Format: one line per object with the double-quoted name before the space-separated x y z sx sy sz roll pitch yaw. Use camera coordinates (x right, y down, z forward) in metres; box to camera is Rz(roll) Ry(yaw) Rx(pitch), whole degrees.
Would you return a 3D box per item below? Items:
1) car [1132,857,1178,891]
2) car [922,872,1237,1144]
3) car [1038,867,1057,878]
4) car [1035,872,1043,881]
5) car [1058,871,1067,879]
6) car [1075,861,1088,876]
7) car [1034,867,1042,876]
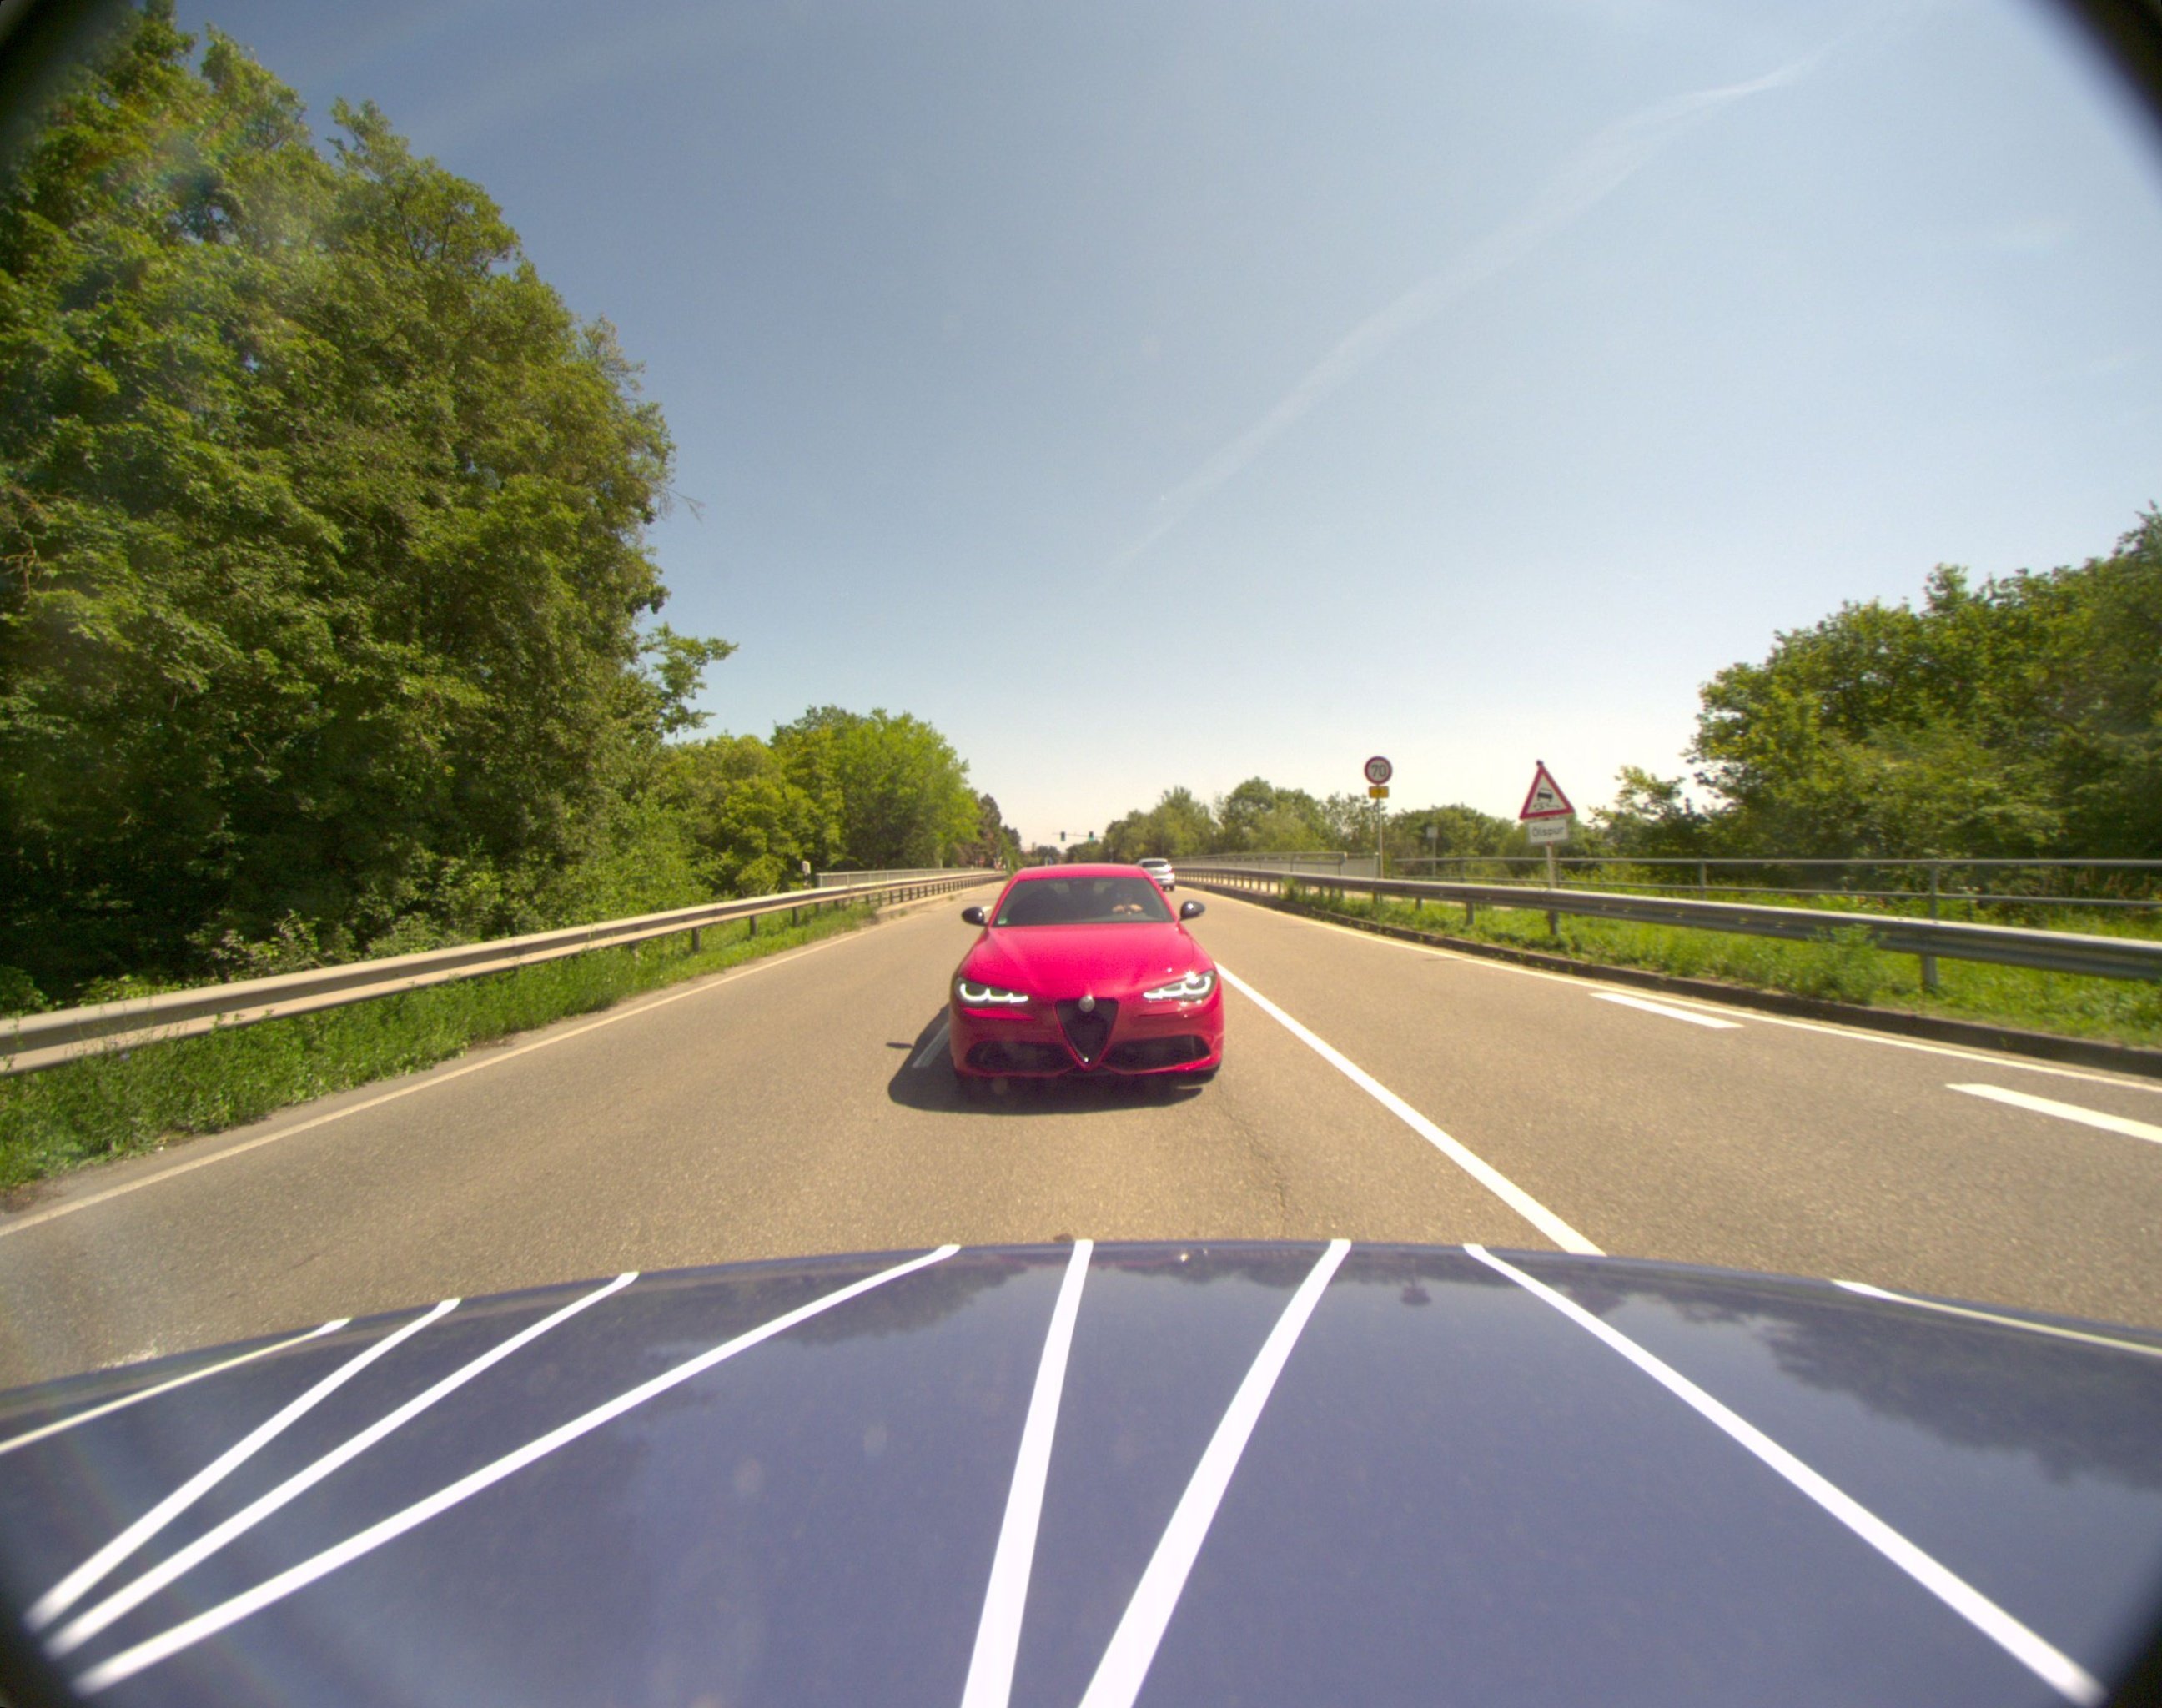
"car" 3.291 0.865 34.471 1.648 1.410 3.766 -2 0 0
"car" -0.028 0.940 6.548 1.800 1.448 4.284 -1 0 -1
"car" -4.921 2.623 110.251 1.803 1.448 3.700 -1 0 -18
"car" -7.166 3.862 130.146 1.416 1.499 3.315 -1 0 -2
"car" -4.067 4.659 169.456 1.848 1.758 4.000 -1 0 -1
"car" 0.078 2.298 124.058 1.995 2.354 5.181 -2 0 -1
"car" -8.209 3.294 145.260 1.476 1.565 3.487 -1 1 -4
